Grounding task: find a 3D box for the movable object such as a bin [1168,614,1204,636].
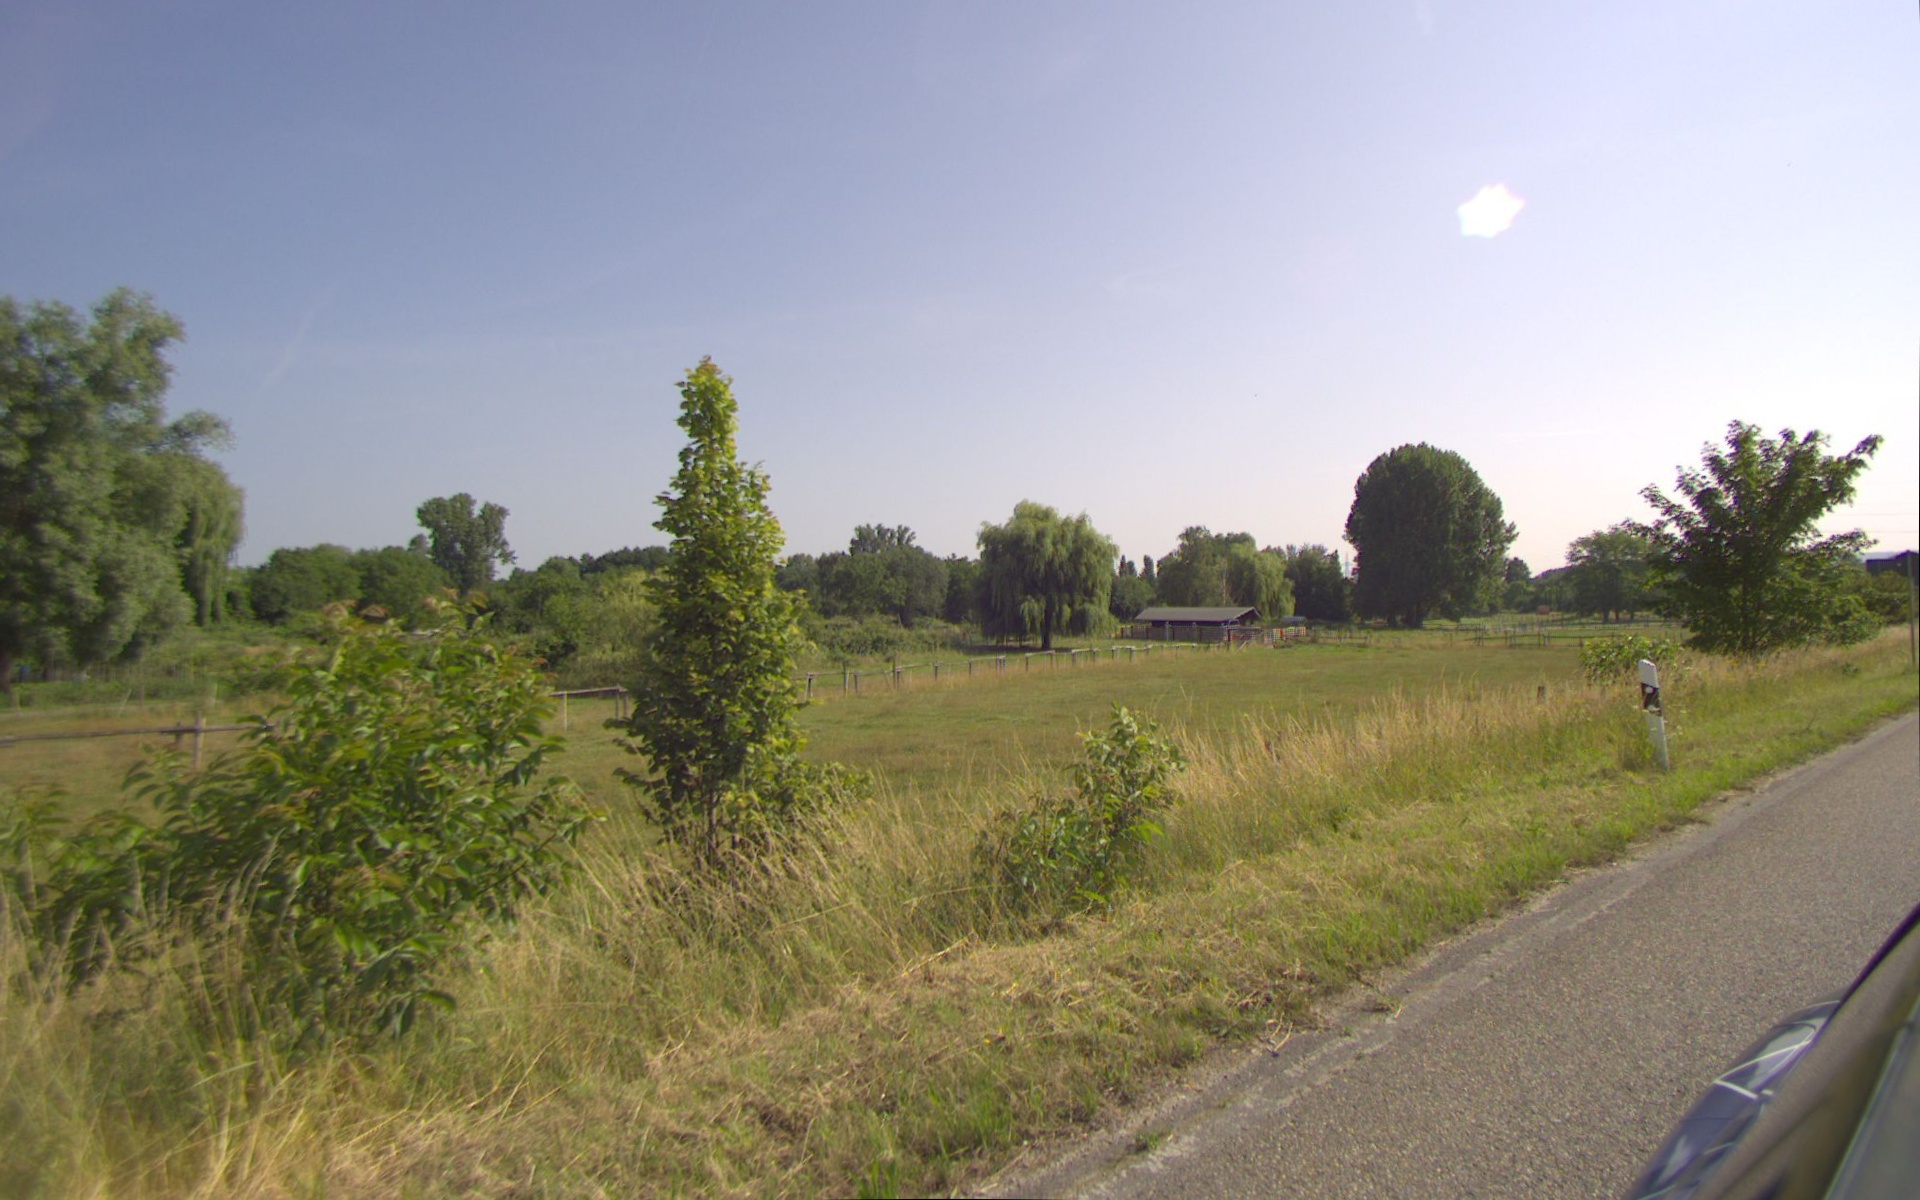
[{"bbox_3d":[24.011,2.620,107.479,1.990,2.222,4.103,-4,-3,40],"label":"movable object such as a bin"}]
